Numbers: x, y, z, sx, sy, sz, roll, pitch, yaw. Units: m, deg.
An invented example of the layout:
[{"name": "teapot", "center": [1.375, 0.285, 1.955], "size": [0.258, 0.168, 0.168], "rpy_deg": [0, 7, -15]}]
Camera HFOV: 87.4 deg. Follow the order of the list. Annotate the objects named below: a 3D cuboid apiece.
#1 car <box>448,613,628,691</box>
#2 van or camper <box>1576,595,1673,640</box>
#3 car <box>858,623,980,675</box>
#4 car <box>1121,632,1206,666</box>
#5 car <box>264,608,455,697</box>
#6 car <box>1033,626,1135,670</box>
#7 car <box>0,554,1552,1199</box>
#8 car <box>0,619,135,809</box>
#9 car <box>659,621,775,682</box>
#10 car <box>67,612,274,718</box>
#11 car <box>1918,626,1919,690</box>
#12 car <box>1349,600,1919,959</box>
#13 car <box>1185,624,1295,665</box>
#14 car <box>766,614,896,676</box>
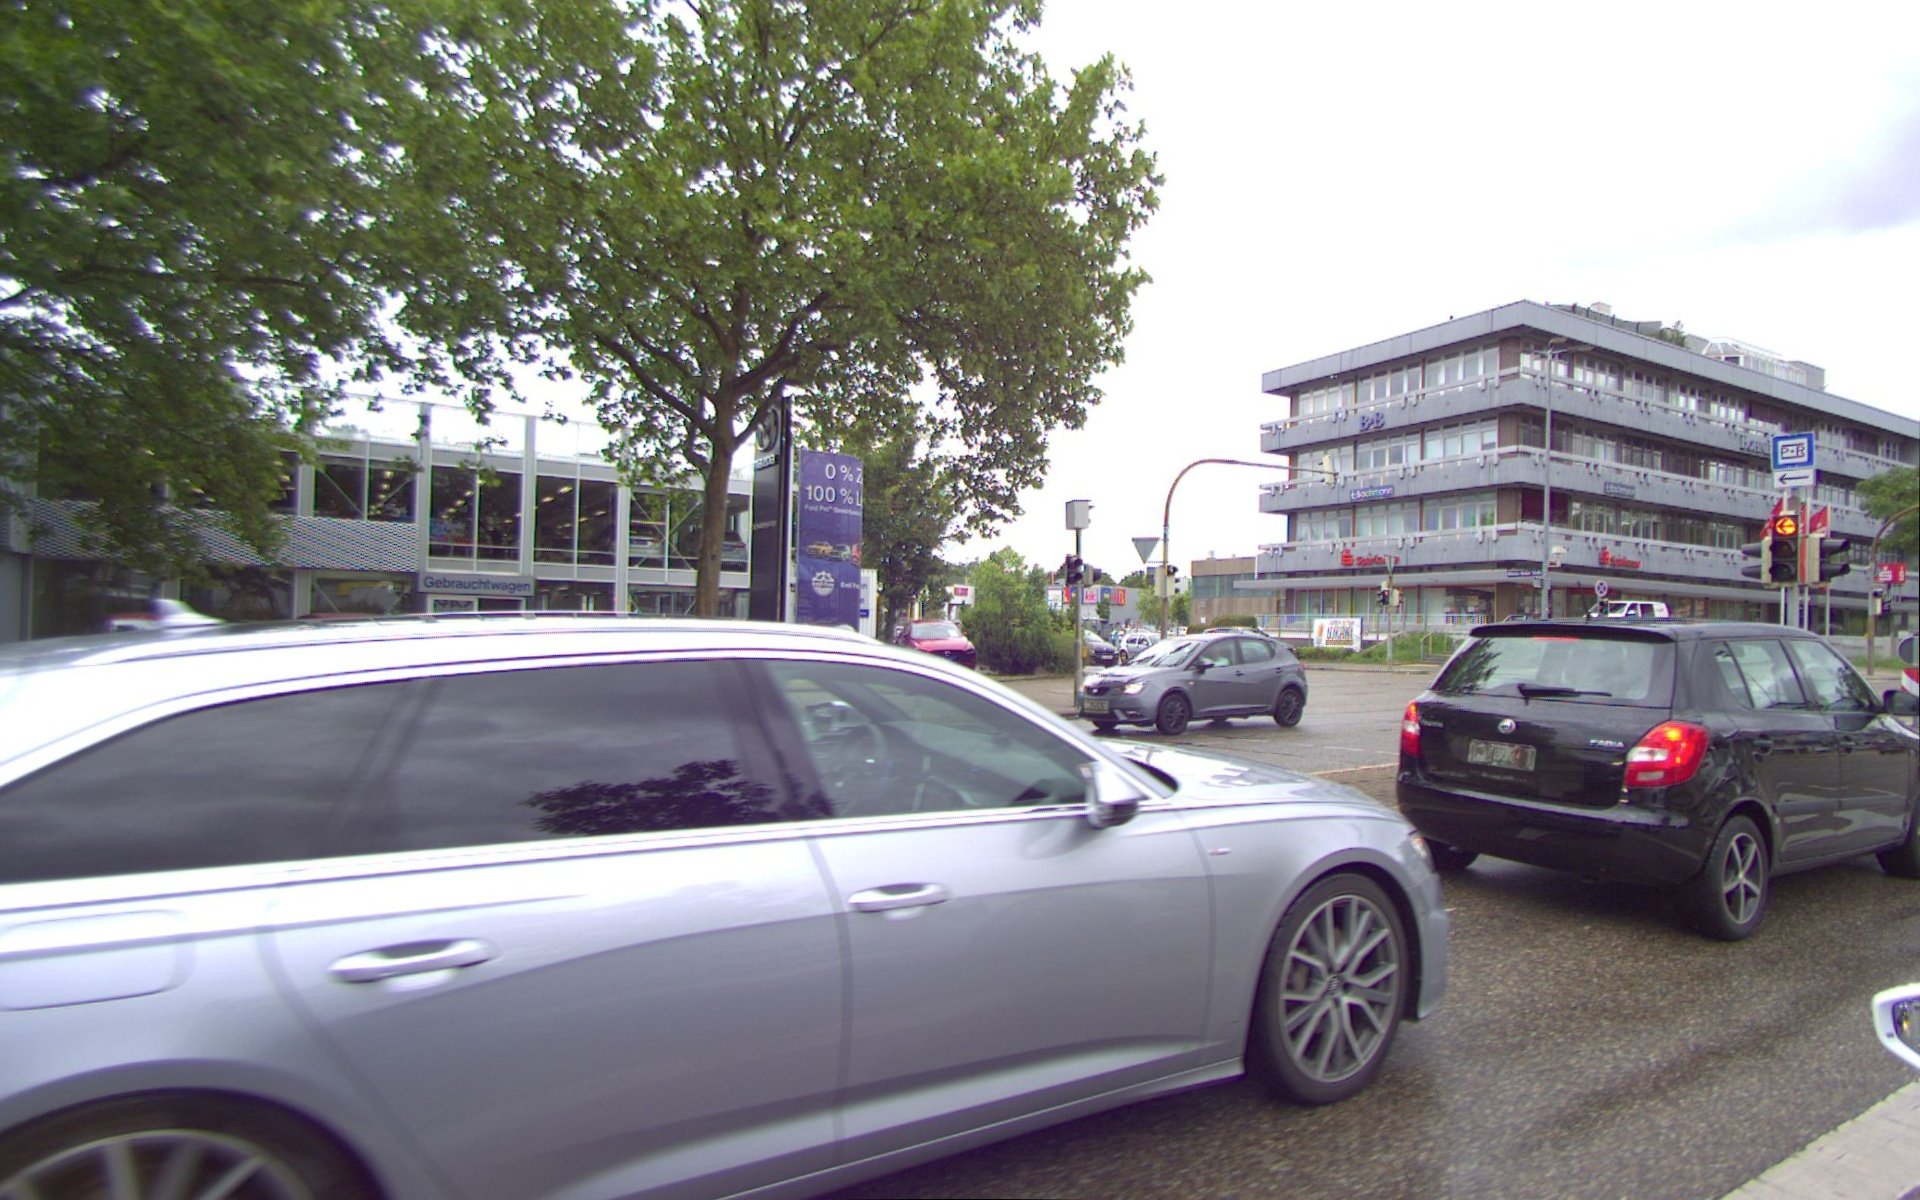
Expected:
[{"name": "car", "center": [-9.684, 1.158, 22.941], "size": [4.165, 1.617, 1.992], "rpy_deg": [-2, -3, 37]}, {"name": "van or camper", "center": [31.986, 0.851, 48.326], "size": [4.733, 1.993, 1.984], "rpy_deg": [2, 0, -31]}, {"name": "car", "center": [-1.189, 1.302, 27.485], "size": [1.673, 1.311, 3.717], "rpy_deg": [1, -2, -34]}, {"name": "car", "center": [9.138, 2.157, 45.298], "size": [1.856, 1.418, 3.671], "rpy_deg": [1, -1, -29]}, {"name": "car", "center": [-12.602, 1.087, 21.016], "size": [4.165, 1.674, 2.005], "rpy_deg": [-2, -3, 37]}, {"name": "car", "center": [4.539, 1.732, 37.274], "size": [1.796, 1.508, 3.962], "rpy_deg": [1, -1, -29]}, {"name": "car", "center": [-0.411, 0.726, 3.052], "size": [4.724, 1.477, 1.757], "rpy_deg": [2, -2, -30]}, {"name": "car", "center": [-8.821, 0.844, 7.298], "size": [4.128, 1.401, 1.702], "rpy_deg": [2, -4, -32]}, {"name": "car", "center": [-6.230, 1.246, 25.468], "size": [1.673, 1.409, 3.717], "rpy_deg": [1, -1, -34]}, {"name": "car", "center": [-14.649, 1.097, 18.554], "size": [4.498, 1.617, 1.992], "rpy_deg": [1, -1, 38]}, {"name": "car", "center": [25.923, 1.476, 25.361], "size": [3.958, 1.601, 1.700], "rpy_deg": [1, -2, -34]}, {"name": "car", "center": [4.372, 0.817, 6.014], "size": [4.030, 1.509, 1.705], "rpy_deg": [1, -2, -31]}, {"name": "car", "center": [11.060, 1.744, 39.961], "size": [1.857, 1.508, 4.128], "rpy_deg": [1, -1, -30]}, {"name": "car", "center": [-3.490, 1.149, 26.592], "size": [1.860, 1.508, 3.955], "rpy_deg": [1, -1, -34]}]
